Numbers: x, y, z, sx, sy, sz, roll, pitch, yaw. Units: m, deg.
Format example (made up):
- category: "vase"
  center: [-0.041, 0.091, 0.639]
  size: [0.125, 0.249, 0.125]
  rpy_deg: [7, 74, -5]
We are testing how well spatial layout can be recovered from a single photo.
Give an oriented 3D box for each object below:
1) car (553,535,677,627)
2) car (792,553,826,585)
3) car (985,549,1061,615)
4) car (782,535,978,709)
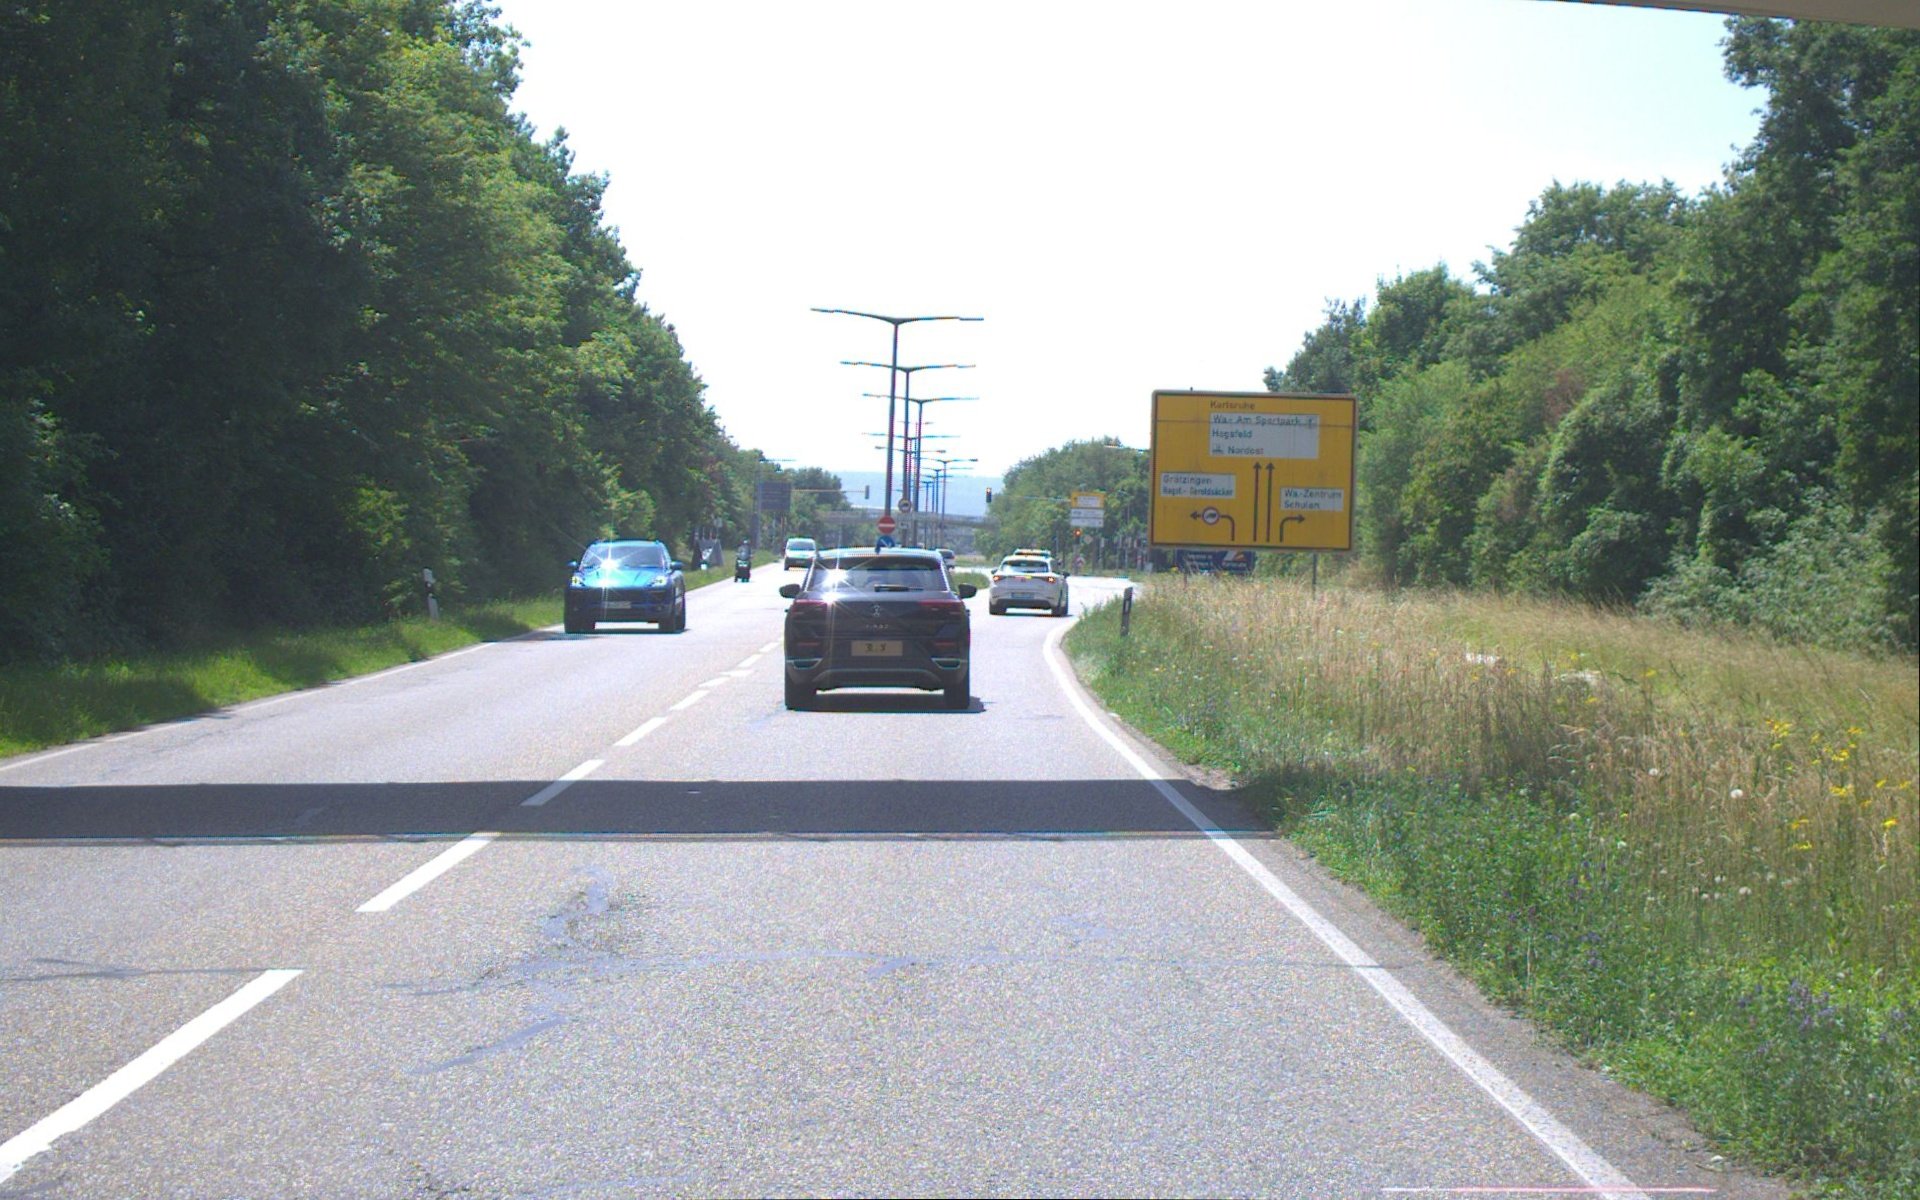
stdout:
- category: "car"
  center: [-6.118, -0.363, 61.360]
  size: [1.823, 1.584, 4.419]
  rpy_deg: [0, 1, -1]
- category: "car"
  center: [-8.116, -1.653, 184.641]
  size: [1.731, 1.682, 4.095]
  rpy_deg: [0, 1, -1]
- category: "car"
  center: [1.551, -0.452, 84.263]
  size: [1.797, 1.577, 4.000]
  rpy_deg: [1, 1, 2]
- category: "car"
  center: [-0.847, 0.185, 33.852]
  size: [1.755, 1.551, 4.001]
  rpy_deg: [2, 0, -3]
